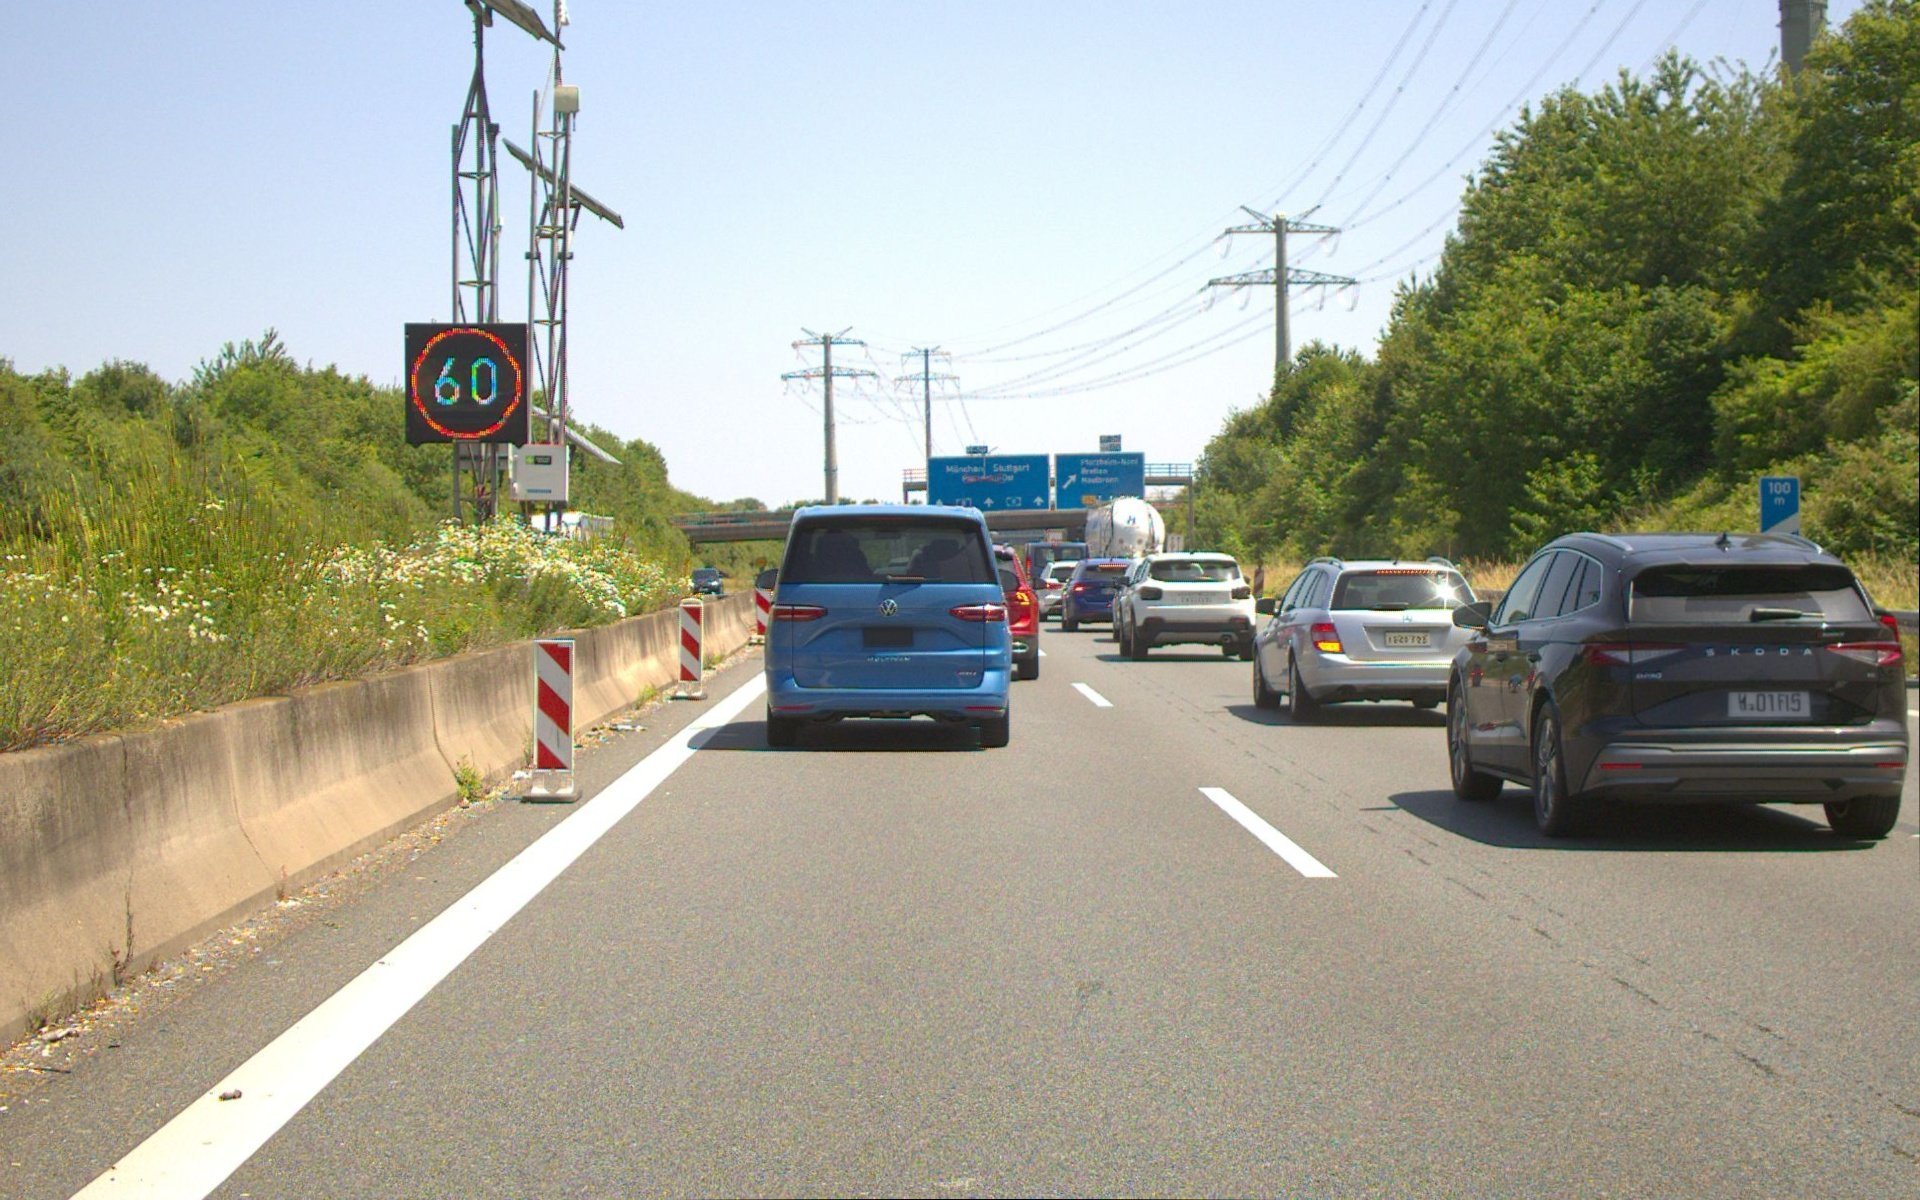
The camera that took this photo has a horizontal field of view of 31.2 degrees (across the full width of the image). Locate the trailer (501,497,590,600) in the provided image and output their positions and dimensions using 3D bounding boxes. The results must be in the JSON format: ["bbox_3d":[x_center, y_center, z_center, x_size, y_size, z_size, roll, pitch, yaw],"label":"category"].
[{"bbox_3d":[-17.119,-2.130,142.263,2.961,4.043,5.434,-2,1,-1],"label":"trailer"}]

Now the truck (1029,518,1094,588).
[{"bbox_3d":[5.312,-2.491,182.208,2.644,3.526,12.553,1,1,-2],"label":"truck"}]

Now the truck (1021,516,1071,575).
[{"bbox_3d":[6.382,-4.068,257.248,2.937,4.276,12.553,1,1,-2],"label":"truck"}]

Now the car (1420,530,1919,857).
[{"bbox_3d":[3.855,0.419,19.229,1.828,1.609,4.431,0,1,-2],"label":"car"}]

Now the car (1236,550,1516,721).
[{"bbox_3d":[3.735,0.275,31.596,1.821,1.432,4.384,1,1,-3],"label":"car"}]

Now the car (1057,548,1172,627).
[{"bbox_3d":[3.080,-0.273,69.261,1.908,1.511,4.384,1,1,-3],"label":"car"}]

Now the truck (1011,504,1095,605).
[{"bbox_3d":[2.585,-1.278,96.665,1.993,2.714,5.680,1,1,-2],"label":"truck"}]

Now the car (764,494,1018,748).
[{"bbox_3d":[-0.630,0.126,27.928,1.871,1.872,4.384,1,1,-3],"label":"car"}]

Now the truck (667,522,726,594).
[{"bbox_3d":[-14.860,-2.371,194.359,2.762,3.875,9.030,-2,1,-1],"label":"truck"}]

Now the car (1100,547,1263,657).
[{"bbox_3d":[3.172,-0.004,49.916,1.908,1.503,3.922,1,1,-3],"label":"car"}]

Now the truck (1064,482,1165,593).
[{"bbox_3d":[5.919,-2.418,134.554,2.644,4.058,16.442,1,1,-2],"label":"truck"}]

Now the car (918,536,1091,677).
[{"bbox_3d":[0.490,0.044,41.976,1.908,1.625,4.384,0,1,-2],"label":"car"}]

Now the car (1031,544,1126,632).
[{"bbox_3d":[2.764,-0.309,81.212,1.993,2.007,4.000,1,1,-1],"label":"car"}]

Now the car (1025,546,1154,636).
[{"bbox_3d":[2.256,-0.188,61.160,1.908,1.511,4.384,1,1,-3],"label":"car"}]

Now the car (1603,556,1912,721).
[{"bbox_3d":[7.200,0.303,31.444,1.734,1.373,4.303,1,1,-1],"label":"car"}]
